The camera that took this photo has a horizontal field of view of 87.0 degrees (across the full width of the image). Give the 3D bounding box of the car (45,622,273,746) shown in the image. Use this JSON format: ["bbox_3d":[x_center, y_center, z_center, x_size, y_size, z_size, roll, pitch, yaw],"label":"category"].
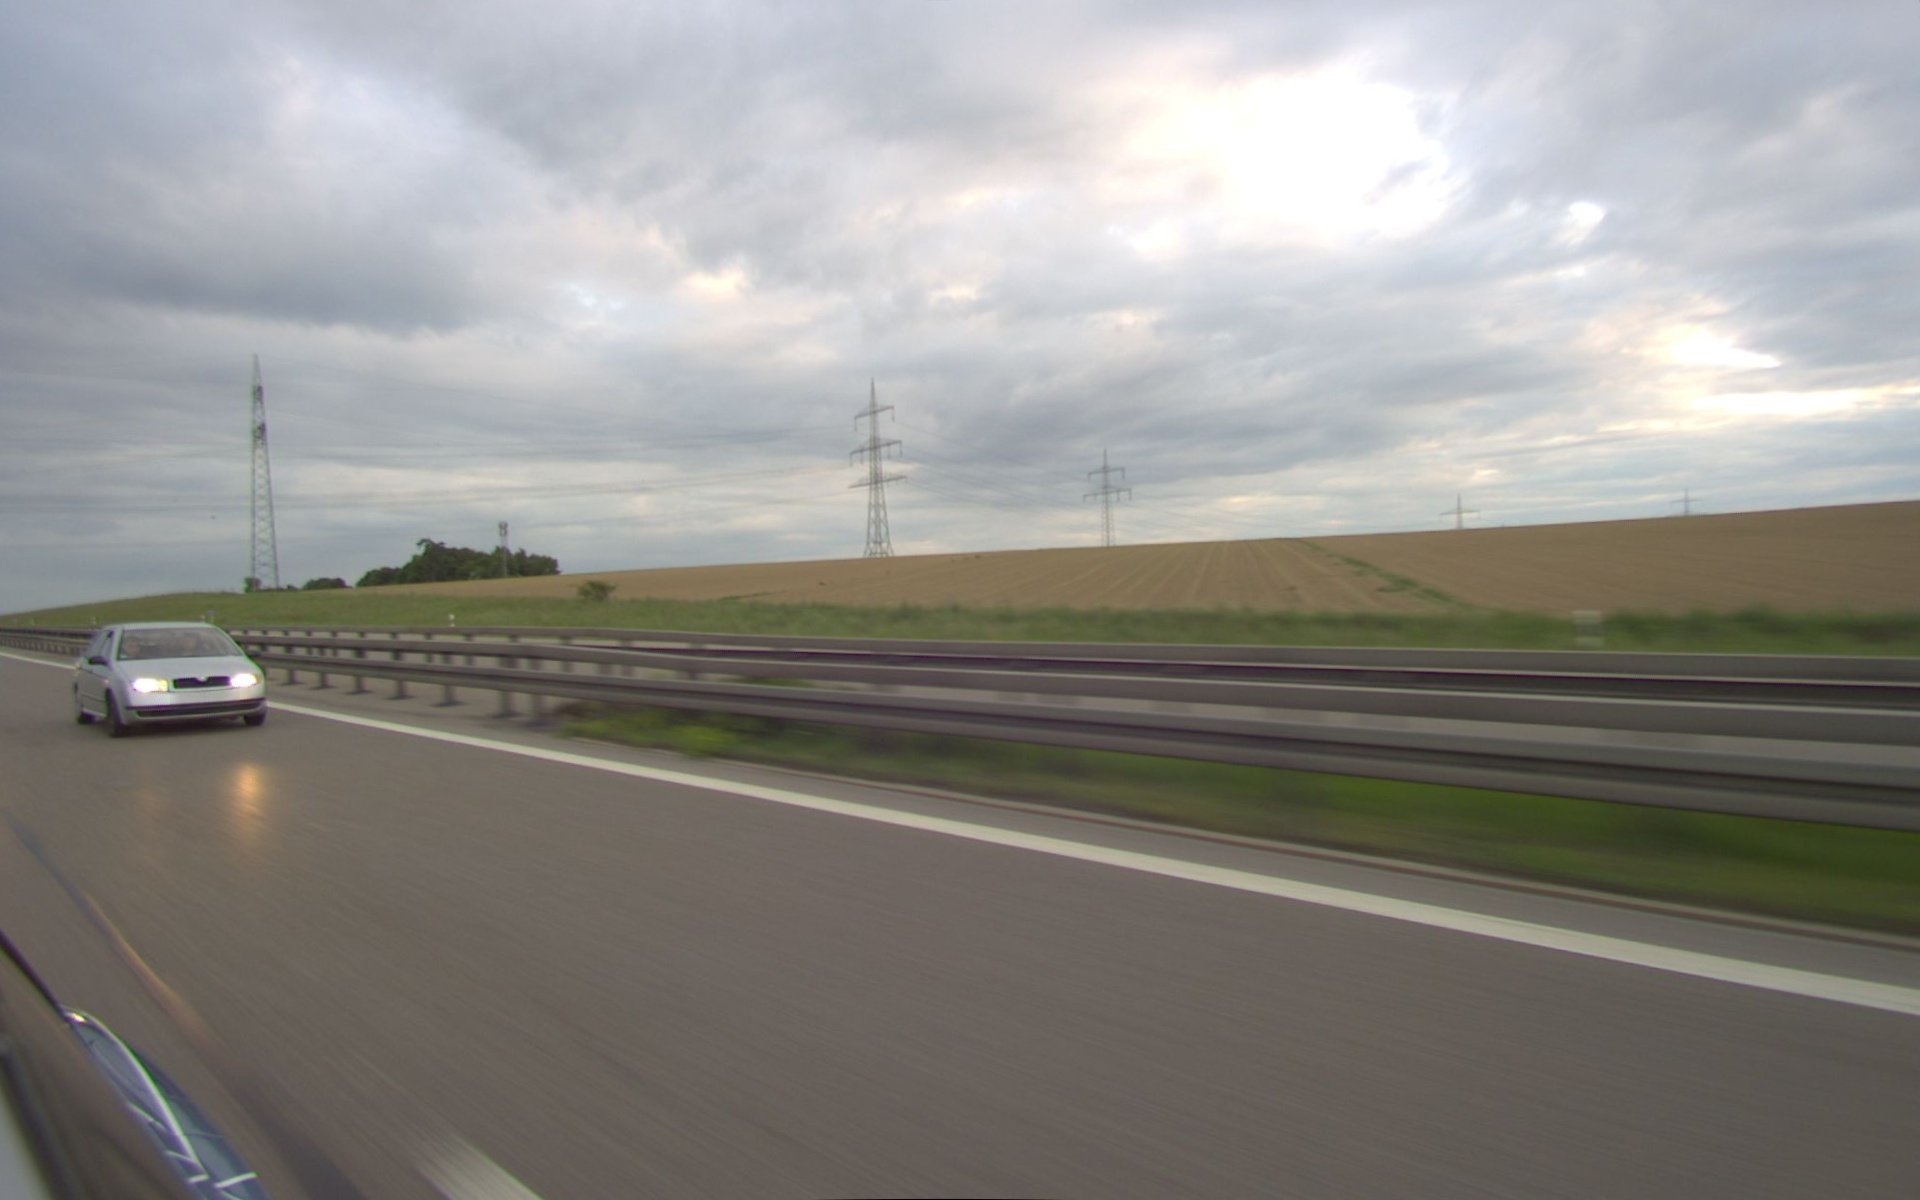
[{"bbox_3d":[-11.091,1.023,13.881,4.598,1.400,1.572,-1,0,40],"label":"car"}]
